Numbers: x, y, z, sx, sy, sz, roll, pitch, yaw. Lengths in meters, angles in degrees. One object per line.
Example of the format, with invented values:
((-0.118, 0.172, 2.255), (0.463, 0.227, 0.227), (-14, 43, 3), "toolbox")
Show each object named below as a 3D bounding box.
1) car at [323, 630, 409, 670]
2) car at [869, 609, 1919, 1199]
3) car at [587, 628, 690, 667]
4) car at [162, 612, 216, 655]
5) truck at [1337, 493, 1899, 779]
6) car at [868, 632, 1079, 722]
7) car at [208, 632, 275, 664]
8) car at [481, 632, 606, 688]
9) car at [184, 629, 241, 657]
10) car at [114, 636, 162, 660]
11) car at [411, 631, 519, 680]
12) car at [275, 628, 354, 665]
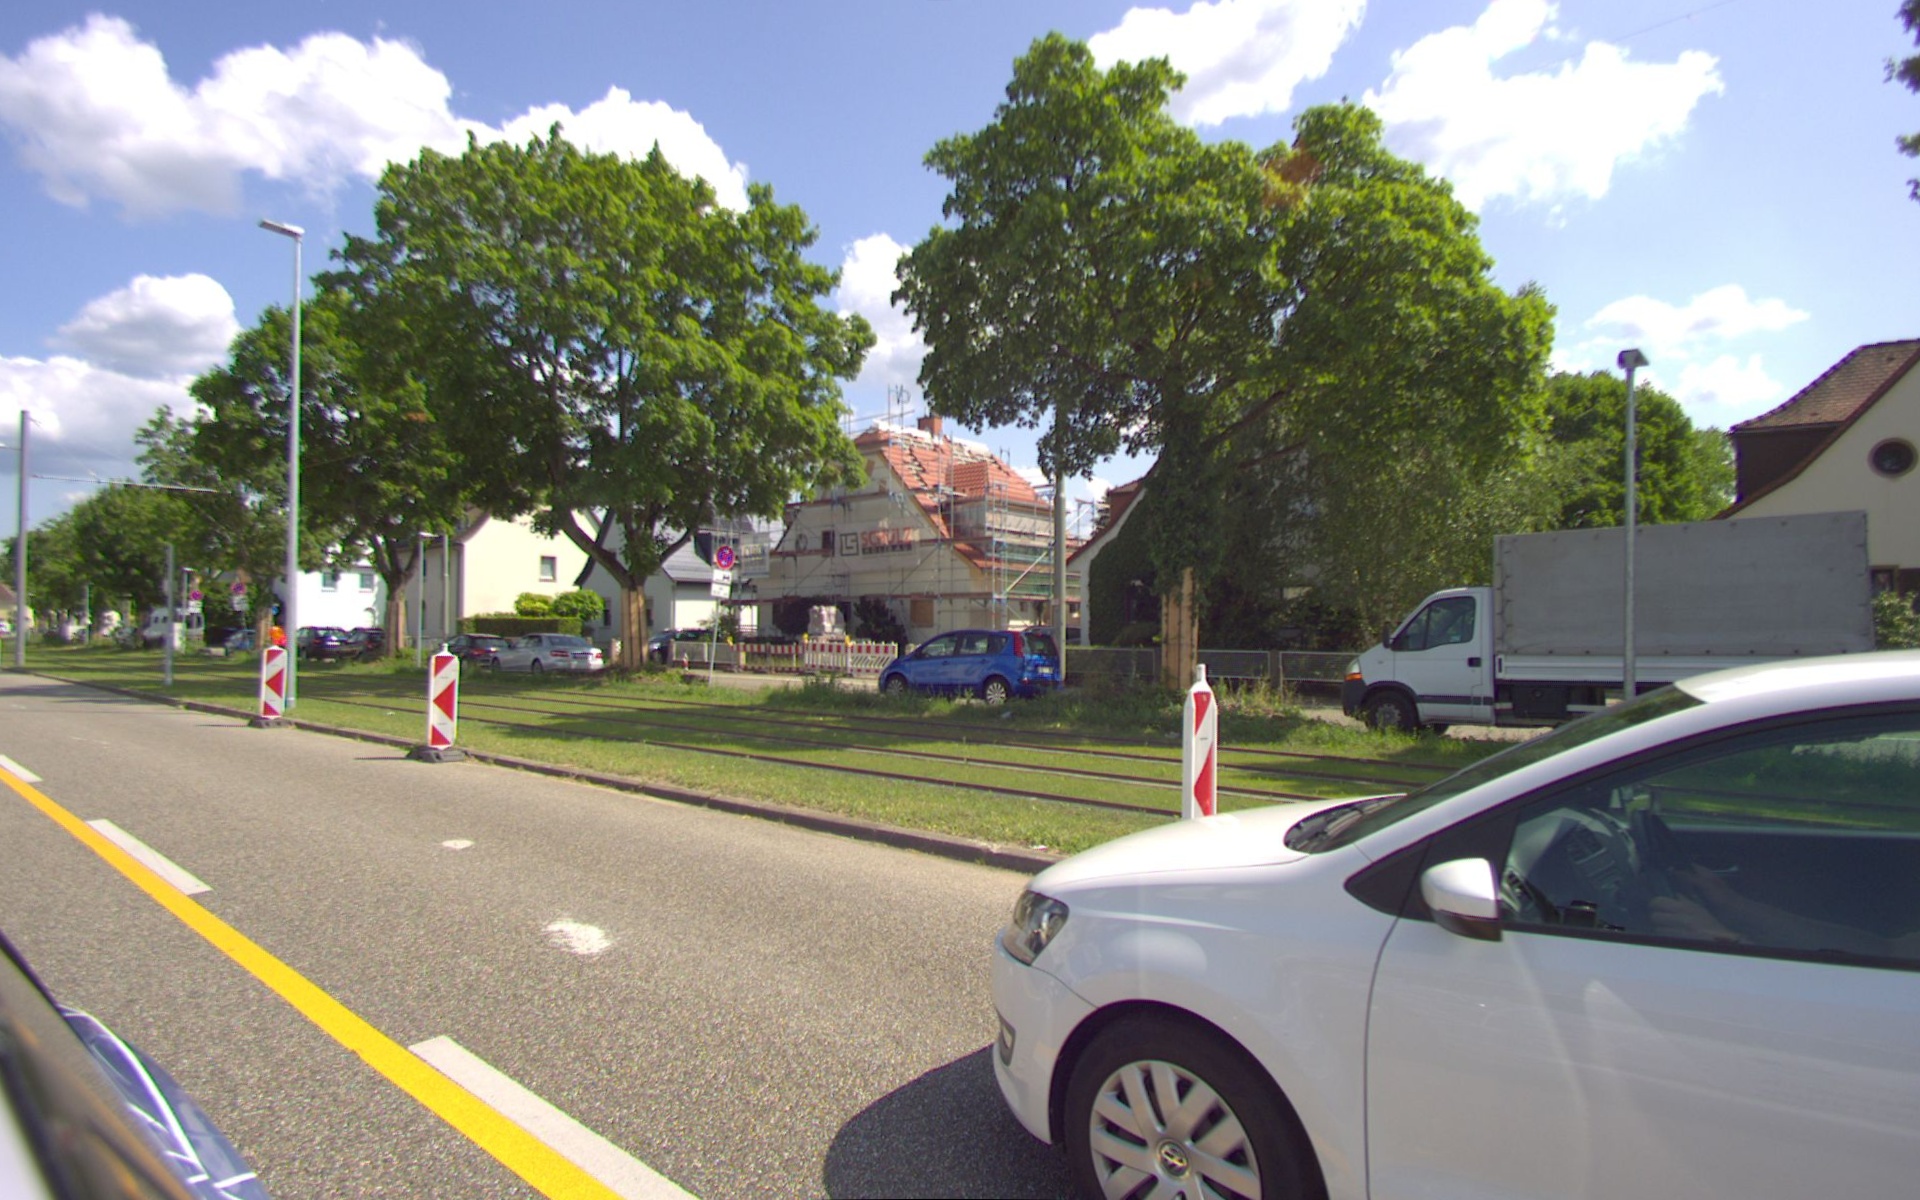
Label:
((-25.175, 2.083, 42.831), (4.603, 1.623, 1.733), (-2, -3, 40), "car")
((1.905, 0.746, 1.986), (4.260, 1.424, 1.697), (-2, -3, 41), "car")
((-14.074, 2.056, 44.511), (1.756, 1.623, 3.995), (-2, -3, 41), "car")
((-48.833, 2.118, 64.077), (4.603, 2.636, 1.733), (-2, -3, 40), "car")
((8.281, 0.469, 13.357), (5.871, 3.010, 1.982), (-2, -3, 41), "truck")
((0.208, 1.448, 20.174), (4.047, 1.623, 1.733), (-2, -3, 40), "car")
((-37.636, 2.479, 52.984), (4.603, 1.623, 1.733), (-2, -3, 40), "car")
((-13.165, 1.838, 31.864), (4.603, 1.623, 1.733), (-2, -3, 40), "car")
((-44.636, 2.565, 60.409), (4.603, 1.623, 1.733), (-2, -3, 40), "car")
((-57.013, 3.282, 70.155), (4.603, 1.623, 1.733), (-2, -3, 40), "car")
((-17.606, 1.923, 35.935), (4.603, 1.623, 1.733), (-2, -3, 40), "car")
((-29.594, 2.108, 46.335), (4.603, 1.623, 1.733), (-2, -3, 40), "car")
